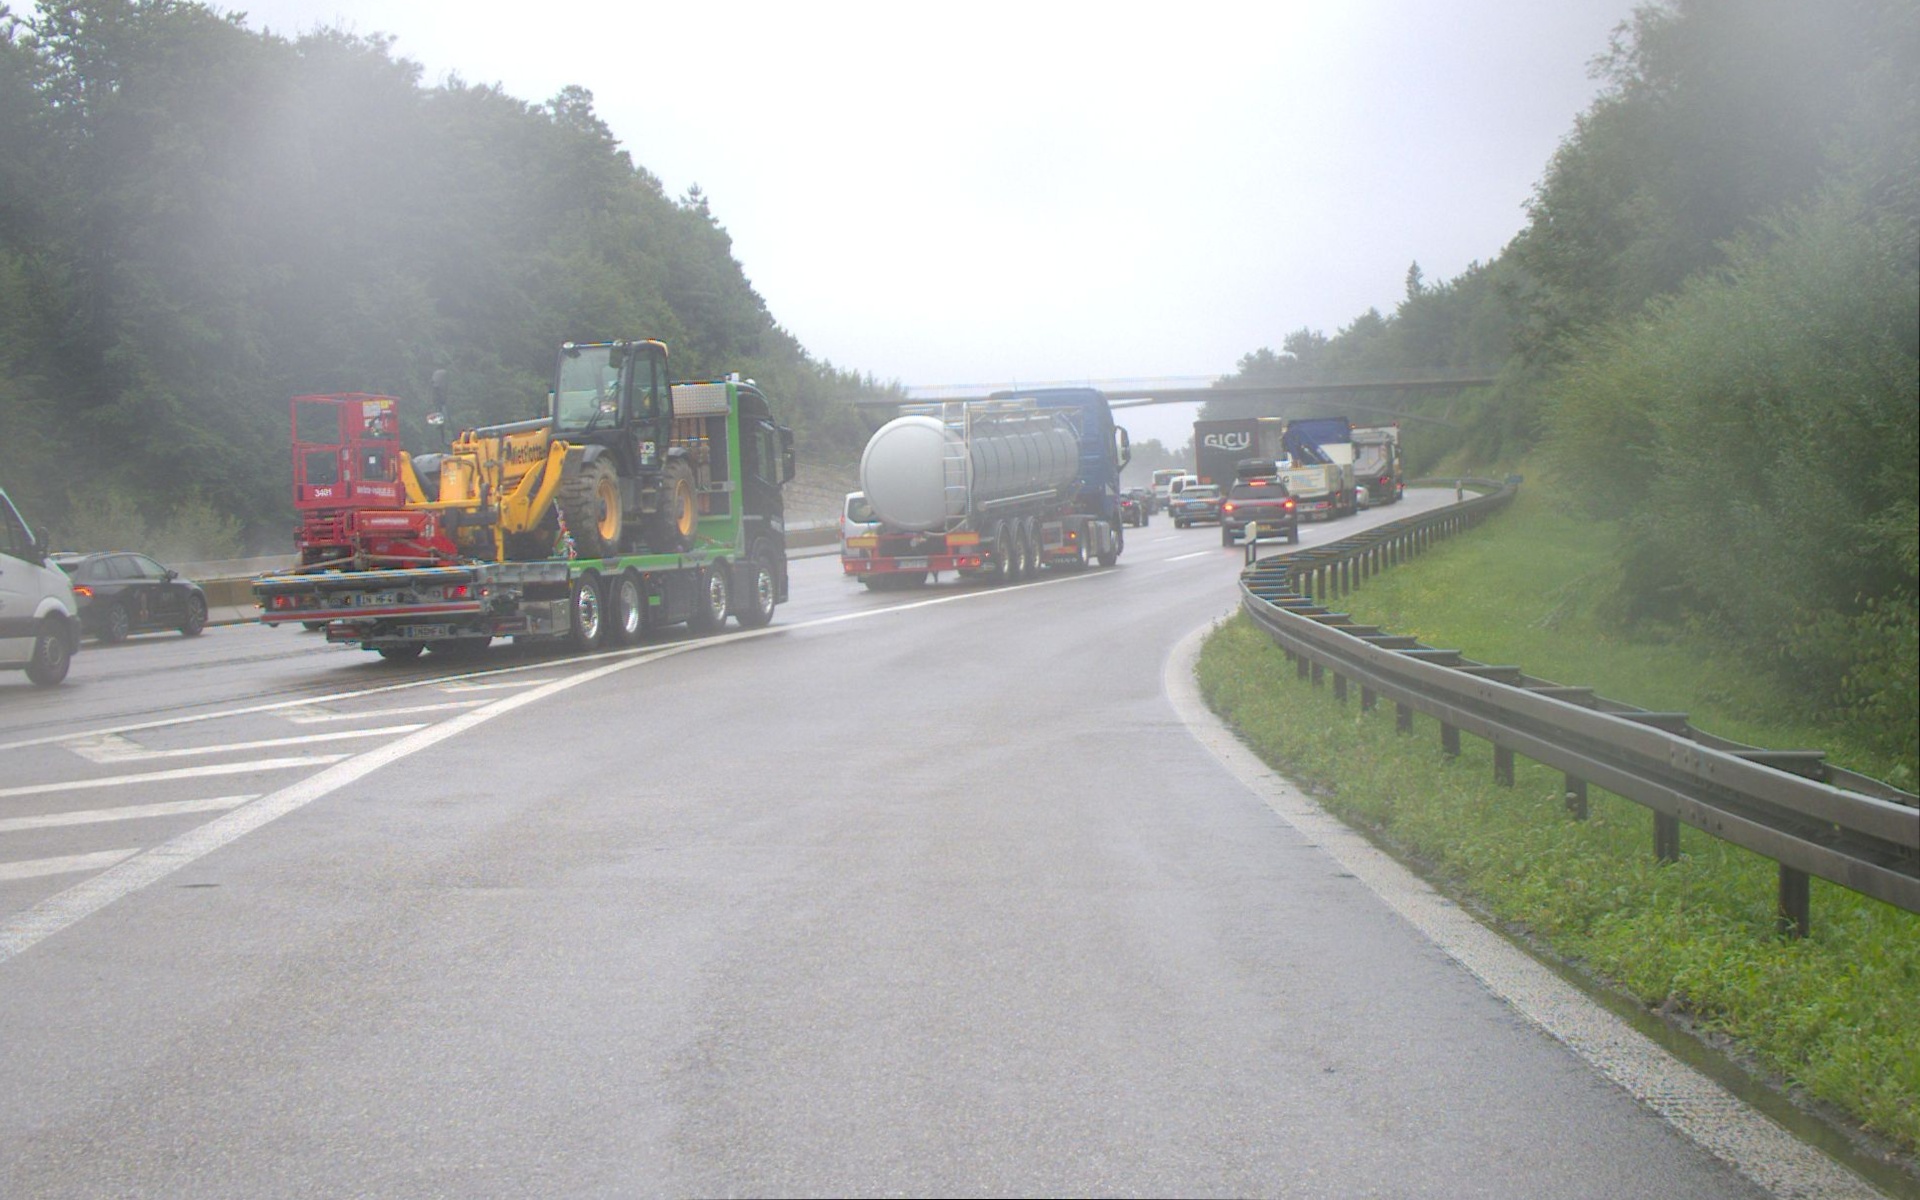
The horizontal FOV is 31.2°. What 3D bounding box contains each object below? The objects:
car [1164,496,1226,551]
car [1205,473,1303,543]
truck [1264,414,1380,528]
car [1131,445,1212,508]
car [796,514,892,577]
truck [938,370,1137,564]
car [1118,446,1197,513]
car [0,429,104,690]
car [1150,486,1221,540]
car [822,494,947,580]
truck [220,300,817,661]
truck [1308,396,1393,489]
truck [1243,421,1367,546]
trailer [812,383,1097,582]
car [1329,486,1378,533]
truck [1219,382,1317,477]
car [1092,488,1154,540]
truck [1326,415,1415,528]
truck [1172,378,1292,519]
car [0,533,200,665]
[{"bbox_3d":[8.349,-2.695,122.008,1.798,1.897,3.998,1,1,10],"label":"car"},{"bbox_3d":[7.250,-2.245,84.421,1.994,1.630,3.998,1,1,10],"label":"car"},{"bbox_3d":[14.662,-5.123,138.535,3.509,4.253,10.598,1,1,12],"label":"truck"},{"bbox_3d":[10.870,-6.291,176.180,3.248,2.992,6.770,1,1,11],"label":"car"},{"bbox_3d":[-3.440,-1.638,102.776,1.994,1.766,4.133,-1,1,11],"label":"car"},{"bbox_3d":[1.637,-2.714,69.986,2.879,3.680,5.054,-2,2,14],"label":"truck"},{"bbox_3d":[9.459,-5.712,163.761,3.096,2.992,6.771,1,1,9],"label":"car"},{"bbox_3d":[-10.941,-0.345,34.004,2.216,2.620,5.840,-2,1,14],"label":"car"},{"bbox_3d":[13.065,-4.997,198.821,3.248,2.992,6.770,1,1,11],"label":"car"},{"bbox_3d":[-1.605,-1.383,74.328,1.820,1.761,3.998,-1,2,11],"label":"car"},{"bbox_3d":[-4.812,-1.422,41.114,2.833,3.576,11.791,-3,1,14],"label":"truck"},{"bbox_3d":[18.508,-7.358,162.365,3.756,3.957,11.056,1,1,7],"label":"truck"},{"bbox_3d":[12.411,-4.204,122.719,3.601,4.090,11.557,-2,2,9],"label":"truck"},{"bbox_3d":[0.087,-2.218,63.485,2.875,3.277,10.073,-2,2,13],"label":"trailer"},{"bbox_3d":[16.914,-3.857,147.606,1.798,1.897,3.999,-2,1,10],"label":"car"},{"bbox_3d":[15.036,-8.180,166.832,3.578,4.081,10.875,-2,0,11],"label":"truck"},{"bbox_3d":[6.273,-3.281,132.122,1.798,1.897,3.998,-2,1,11],"label":"car"},{"bbox_3d":[22.100,-6.825,184.641,4.338,5.744,9.727,1,1,9],"label":"truck"},{"bbox_3d":[11.387,-6.200,143.068,3.756,5.480,10.168,1,1,11],"label":"truck"},{"bbox_3d":[-13.868,-0.042,54.847,1.799,2.007,3.998,1,1,14],"label":"car"}]
